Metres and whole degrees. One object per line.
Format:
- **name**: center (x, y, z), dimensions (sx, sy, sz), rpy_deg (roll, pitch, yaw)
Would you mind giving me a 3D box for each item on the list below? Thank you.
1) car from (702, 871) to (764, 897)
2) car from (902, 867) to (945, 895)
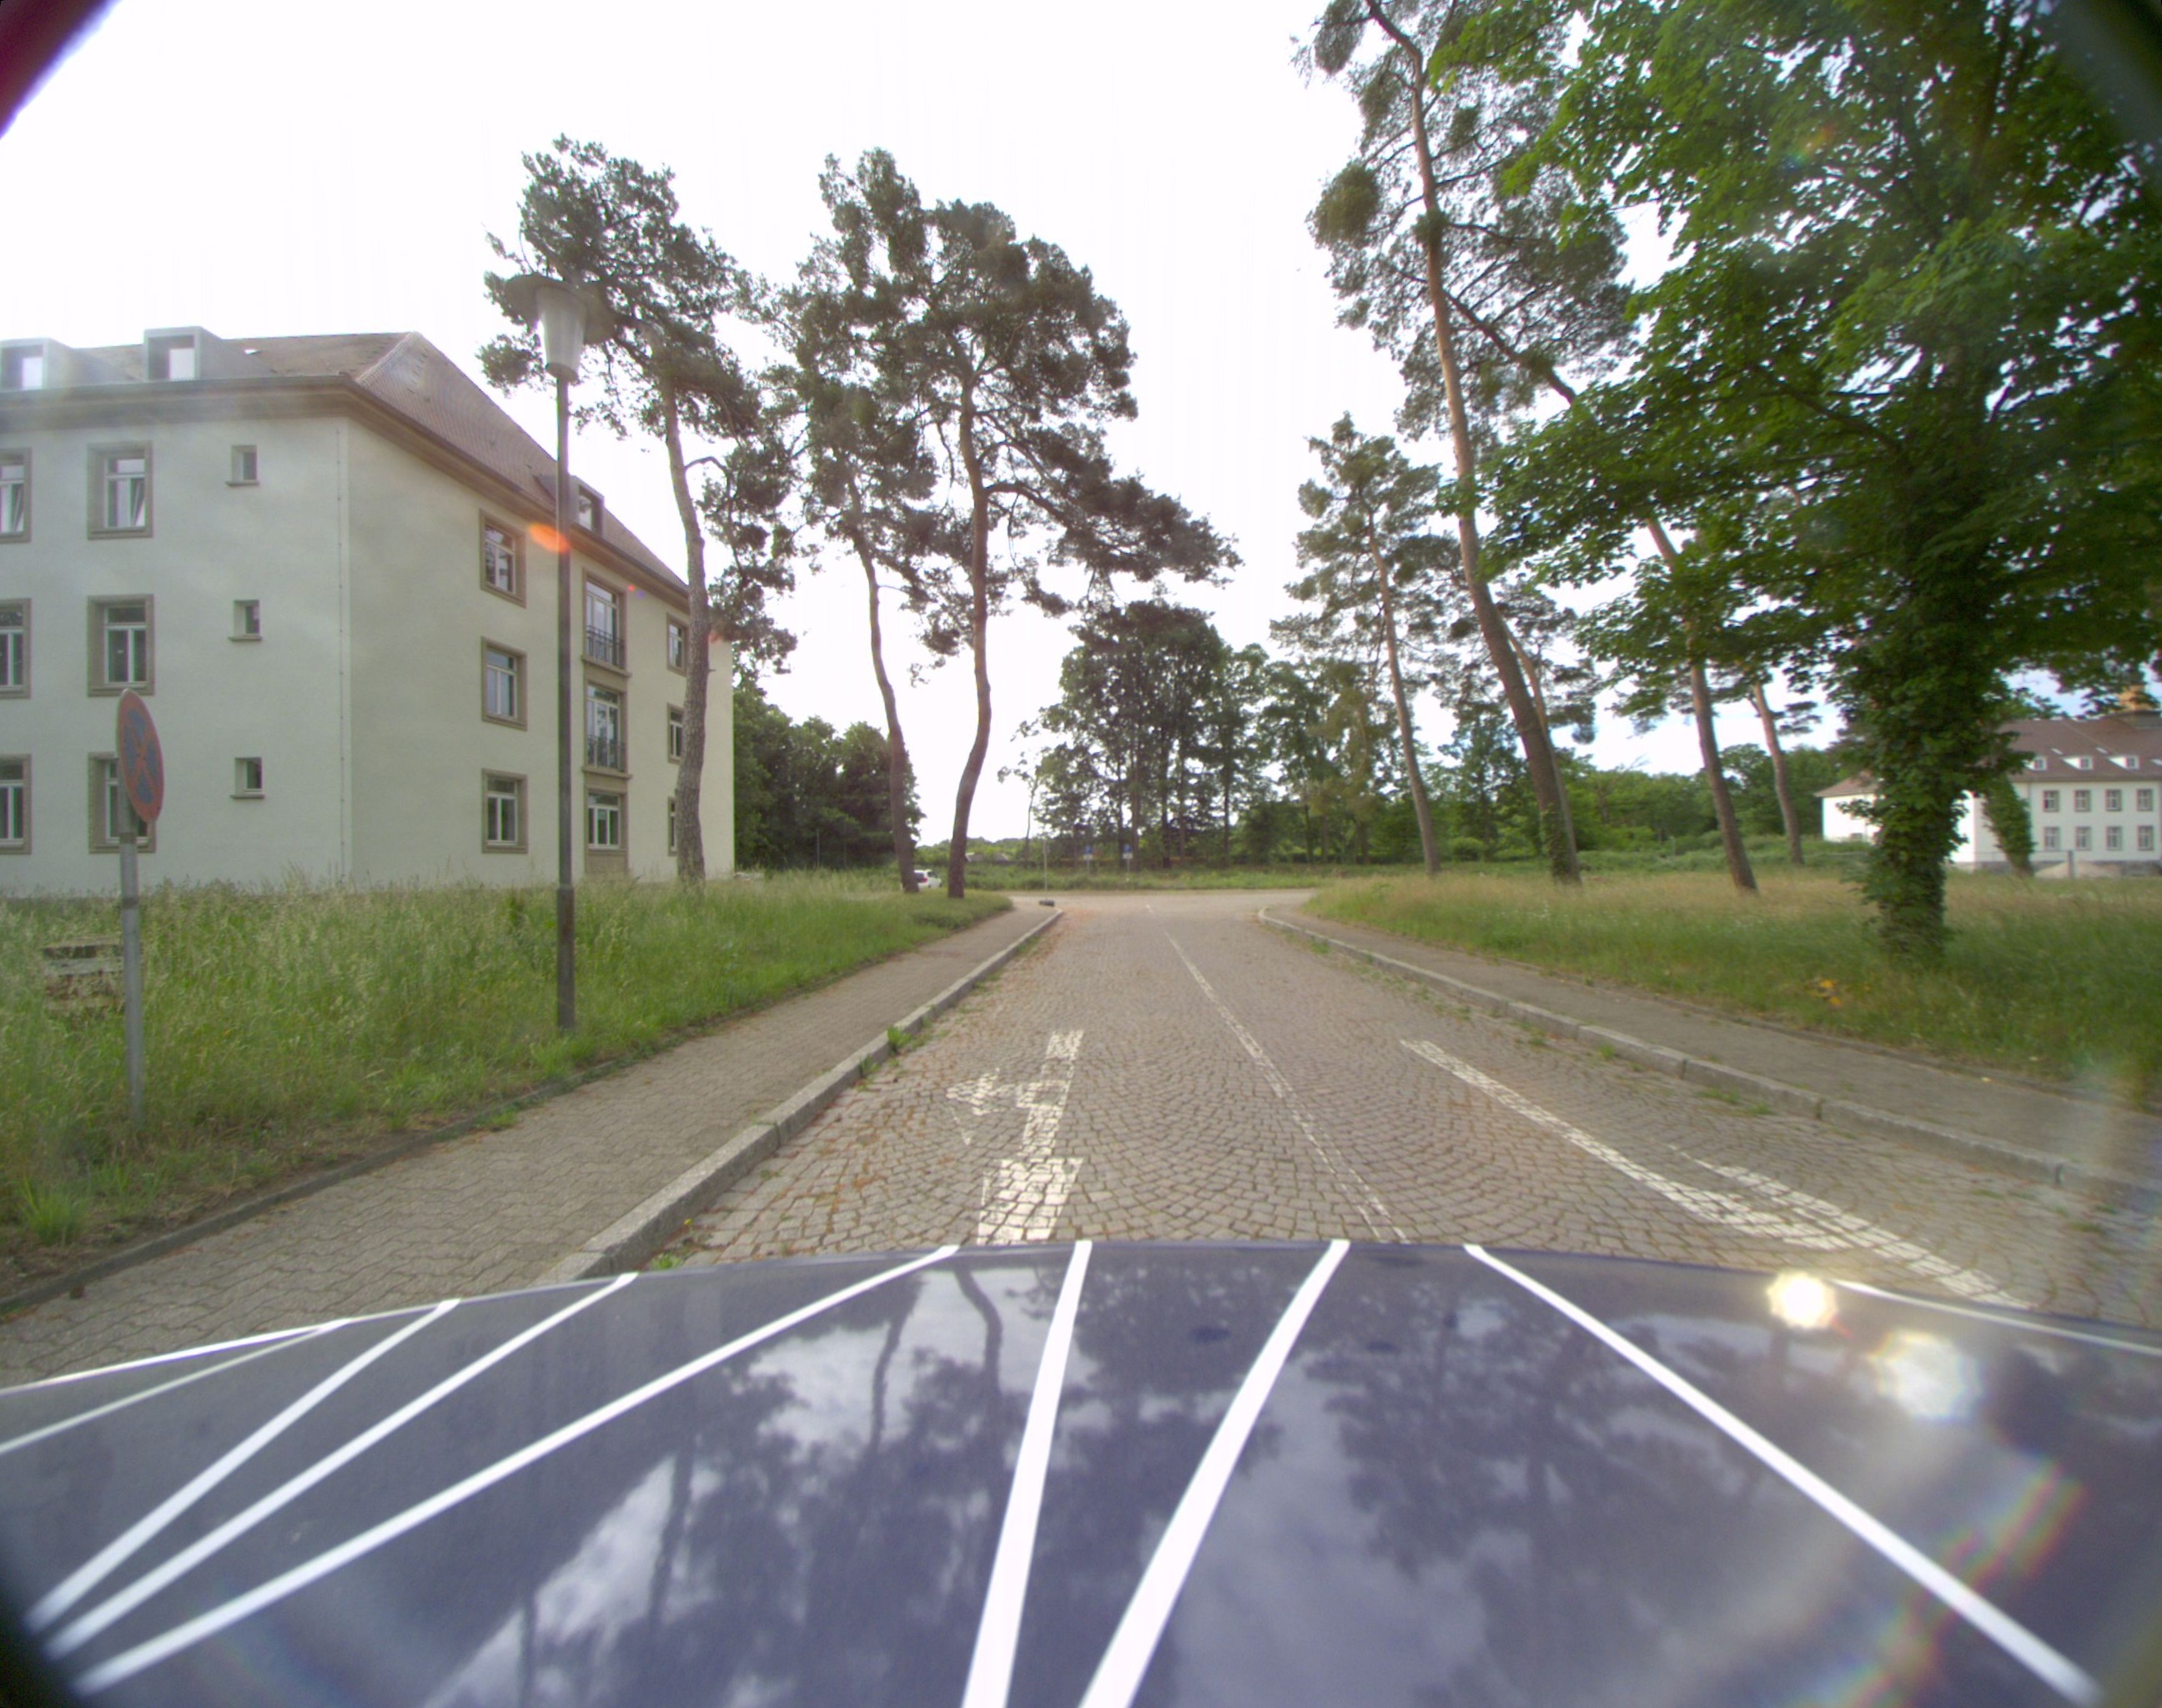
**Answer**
- **car**: center (-20.466, 1.735, 44.845), dimensions (1.640, 1.321, 4.000), rpy_deg (-1, 1, 3)
- **car**: center (-9.165, 1.573, 44.552), dimensions (1.640, 1.426, 3.278), rpy_deg (-1, 2, 3)
